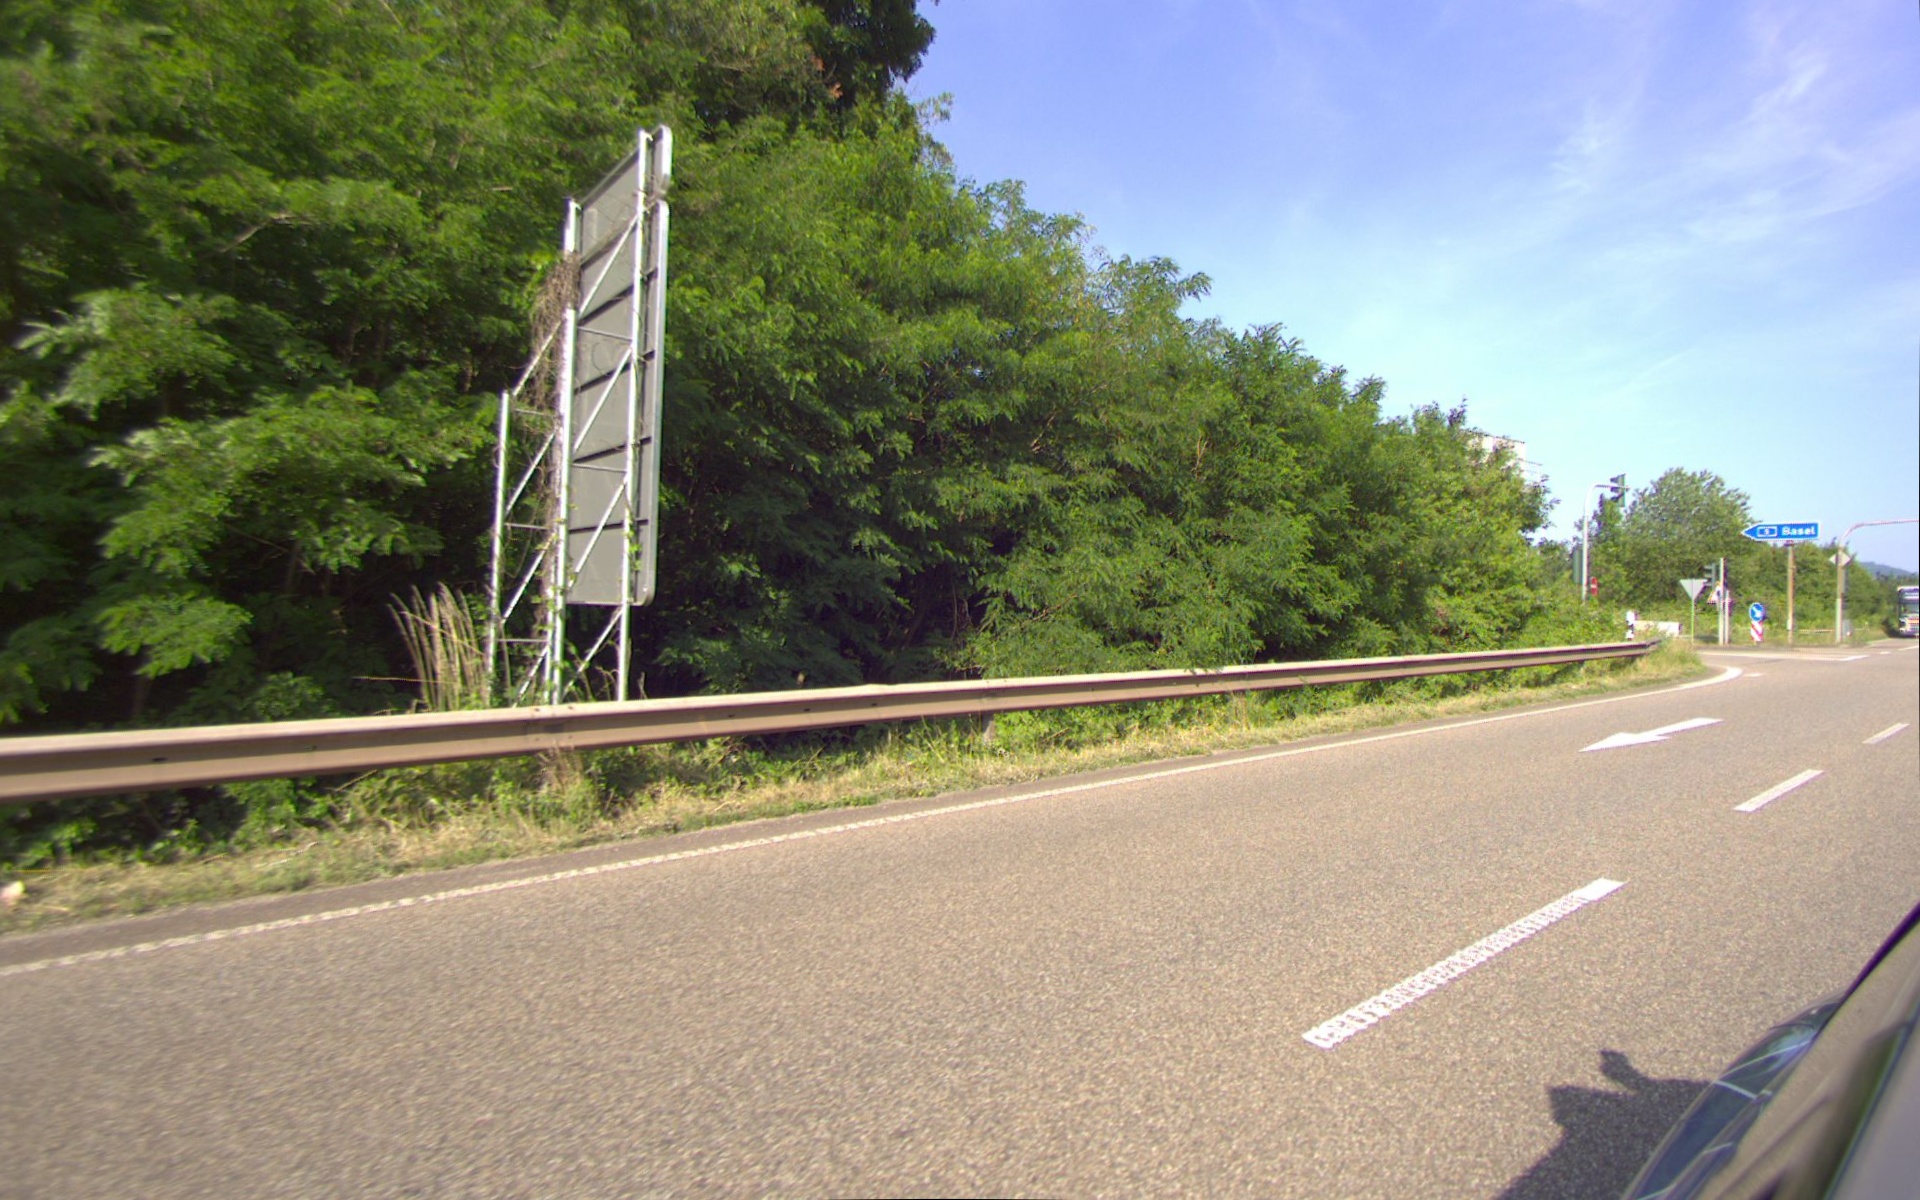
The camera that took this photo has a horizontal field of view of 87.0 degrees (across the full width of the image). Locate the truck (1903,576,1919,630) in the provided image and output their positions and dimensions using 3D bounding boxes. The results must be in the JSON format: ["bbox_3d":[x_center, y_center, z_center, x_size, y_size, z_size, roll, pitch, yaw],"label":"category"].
[{"bbox_3d":[77.795,0.267,80.493,14.320,4.071,3.190,1,-2,-44],"label":"truck"}]
